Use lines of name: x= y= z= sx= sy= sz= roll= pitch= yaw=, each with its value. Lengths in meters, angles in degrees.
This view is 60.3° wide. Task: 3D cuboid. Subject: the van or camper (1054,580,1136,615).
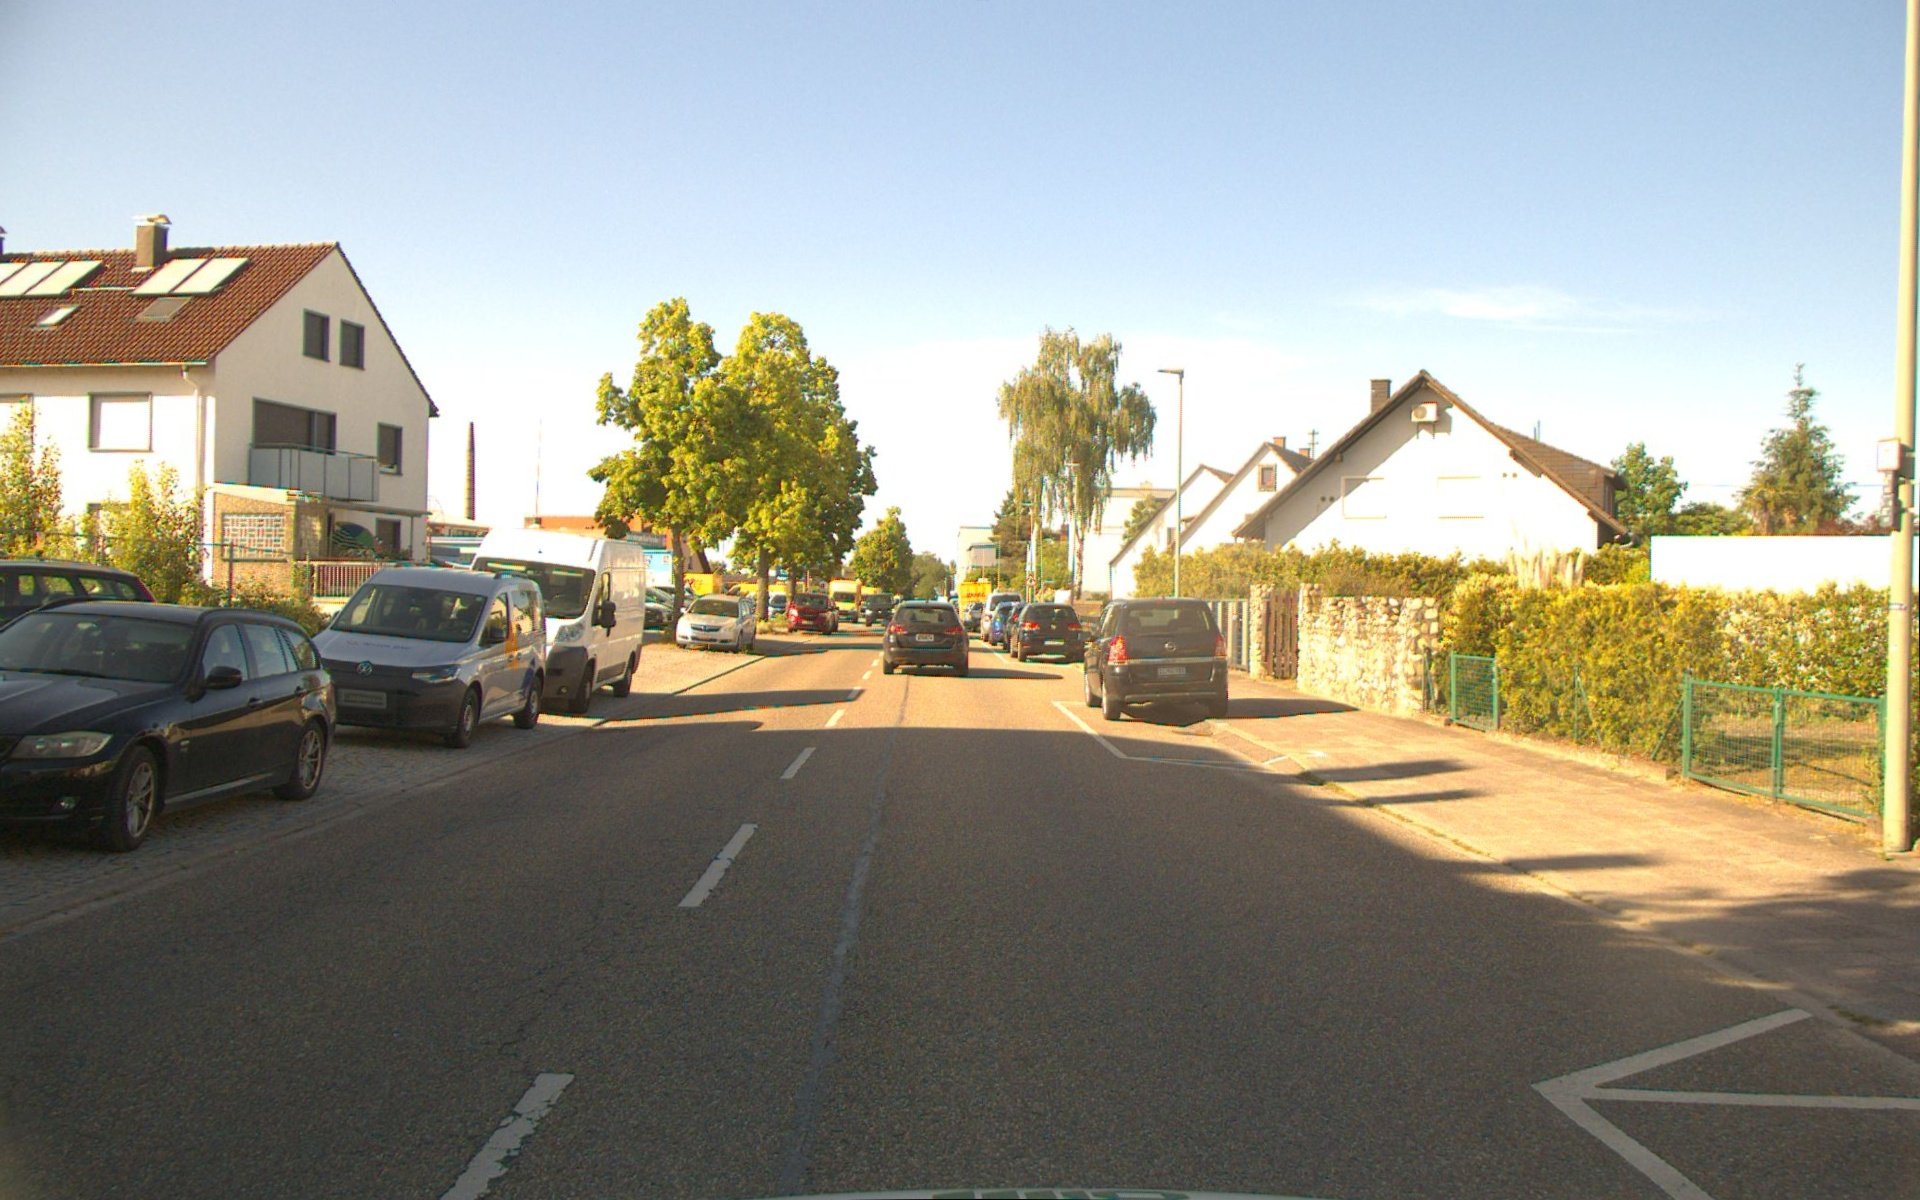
van or camper: x=9.928 y=-0.175 z=121.708 sx=5.745 sy=2.586 sz=2.269 roll=0 pitch=0 yaw=-28

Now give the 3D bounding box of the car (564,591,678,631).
car: x=-13.601 y=0.437 z=66.539 sx=4.160 sy=1.568 sz=1.767 roll=0 pitch=1 yaw=3

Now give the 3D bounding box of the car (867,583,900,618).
car: x=-4.682 y=0.022 z=101.569 sx=1.855 sy=2.067 sz=4.817 roll=-1 pitch=0 yaw=-1

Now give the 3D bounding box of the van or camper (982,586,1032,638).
van or camper: x=1.771 y=0.436 z=63.388 sx=1.684 sy=1.924 sz=4.179 roll=1 pitch=0 yaw=-1

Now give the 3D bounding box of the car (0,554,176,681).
car: x=-12.291 y=0.194 z=20.542 sx=1.584 sy=1.540 sz=4.367 roll=1 pitch=0 yaw=38

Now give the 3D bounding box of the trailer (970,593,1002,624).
trailer: x=1.314 y=0.409 z=85.395 sx=1.594 sy=1.565 sz=3.198 roll=1 pitch=0 yaw=0

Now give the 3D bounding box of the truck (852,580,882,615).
truck: x=-8.405 y=-0.227 z=150.611 sx=2.354 sy=3.035 sz=6.372 roll=2 pitch=0 yaw=-1

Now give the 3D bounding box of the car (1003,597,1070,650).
car: x=2.303 y=0.693 z=50.588 sx=1.684 sy=1.531 sz=3.905 roll=1 pitch=0 yaw=-2

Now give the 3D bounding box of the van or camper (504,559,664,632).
van or camper: x=-12.854 y=-0.147 z=56.667 sx=4.788 sy=2.361 sz=2.245 roll=1 pitch=-1 yaw=11

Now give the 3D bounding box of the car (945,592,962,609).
car: x=-0.745 y=0.043 z=189.347 sx=1.880 sy=1.857 sz=4.079 roll=1 pitch=0 yaw=-1

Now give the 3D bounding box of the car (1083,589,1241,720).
car: x=2.820 y=0.706 z=23.936 sx=1.739 sy=1.688 sz=4.303 roll=1 pitch=0 yaw=0

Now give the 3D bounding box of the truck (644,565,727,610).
truck: x=-20.770 y=-0.940 z=125.169 sx=5.548 sy=3.174 sz=2.525 roll=2 pitch=0 yaw=10

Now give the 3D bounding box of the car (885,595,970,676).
car: x=-0.639 y=0.684 z=34.242 sx=1.676 sy=1.559 sz=3.687 roll=0 pitch=0 yaw=0

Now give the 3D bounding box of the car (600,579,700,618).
car: x=-14.145 y=-0.069 z=75.655 sx=4.159 sy=1.759 sz=1.767 roll=0 pitch=0 yaw=4

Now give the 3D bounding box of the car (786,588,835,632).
car: x=-6.551 y=0.421 z=73.014 sx=1.767 sy=1.783 sz=4.341 roll=2 pitch=0 yaw=-1

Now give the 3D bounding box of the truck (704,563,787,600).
truck: x=-16.475 y=-1.439 z=127.130 sx=5.795 sy=2.612 sz=2.226 roll=2 pitch=0 yaw=10

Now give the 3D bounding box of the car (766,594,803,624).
car: x=-10.260 y=0.545 z=96.760 sx=1.824 sy=1.618 sz=4.274 roll=1 pitch=-2 yaw=-2

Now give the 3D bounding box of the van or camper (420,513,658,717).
van or camper: x=-6.052 y=0.174 z=24.574 sx=2.080 sy=2.533 sz=5.554 roll=4 pitch=0 yaw=-2

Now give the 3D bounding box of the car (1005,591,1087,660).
car: x=2.210 y=0.620 z=43.216 sx=1.740 sy=1.688 sz=3.814 roll=1 pitch=0 yaw=-3

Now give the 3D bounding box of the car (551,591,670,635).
car: x=-13.556 y=0.496 z=64.291 sx=4.159 sy=1.569 sz=1.767 roll=1 pitch=0 yaw=4

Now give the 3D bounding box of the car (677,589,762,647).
car: x=-6.647 y=0.468 z=46.073 sx=1.652 sy=1.460 sz=4.209 roll=3 pitch=0 yaw=1

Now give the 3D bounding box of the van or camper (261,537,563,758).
van or camper: x=-5.860 y=0.451 z=18.282 sx=1.840 sy=2.048 sz=4.279 roll=3 pitch=0 yaw=-1

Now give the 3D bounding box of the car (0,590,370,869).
car: x=-5.590 y=0.702 z=11.292 sx=1.576 sy=1.460 sz=4.312 roll=2 pitch=0 yaw=-1

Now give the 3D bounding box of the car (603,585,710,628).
car: x=-12.824 y=0.285 z=70.034 sx=4.160 sy=1.783 sz=1.766 roll=0 pitch=0 yaw=2

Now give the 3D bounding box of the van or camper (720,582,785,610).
van or camper: x=-15.517 y=-0.292 z=124.066 sx=4.447 sy=2.049 sz=2.252 roll=0 pitch=0 yaw=5

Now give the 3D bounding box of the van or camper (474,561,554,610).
van or camper: x=-26.271 y=-0.822 z=97.757 sx=2.118 sy=2.763 sz=6.275 roll=1 pitch=0 yaw=9

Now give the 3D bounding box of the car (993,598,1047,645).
car: x=2.043 y=0.712 z=57.192 sx=1.684 sy=1.531 sz=3.563 roll=1 pitch=0 yaw=-1

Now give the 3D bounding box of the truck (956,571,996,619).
truck: x=0.996 y=-0.321 z=109.415 sx=2.354 sy=2.988 sz=7.014 roll=-2 pitch=0 yaw=-1

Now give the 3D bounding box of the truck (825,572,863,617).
truck: x=-8.322 y=-0.410 z=119.092 sx=2.354 sy=3.035 sz=7.242 roll=2 pitch=0 yaw=-2
